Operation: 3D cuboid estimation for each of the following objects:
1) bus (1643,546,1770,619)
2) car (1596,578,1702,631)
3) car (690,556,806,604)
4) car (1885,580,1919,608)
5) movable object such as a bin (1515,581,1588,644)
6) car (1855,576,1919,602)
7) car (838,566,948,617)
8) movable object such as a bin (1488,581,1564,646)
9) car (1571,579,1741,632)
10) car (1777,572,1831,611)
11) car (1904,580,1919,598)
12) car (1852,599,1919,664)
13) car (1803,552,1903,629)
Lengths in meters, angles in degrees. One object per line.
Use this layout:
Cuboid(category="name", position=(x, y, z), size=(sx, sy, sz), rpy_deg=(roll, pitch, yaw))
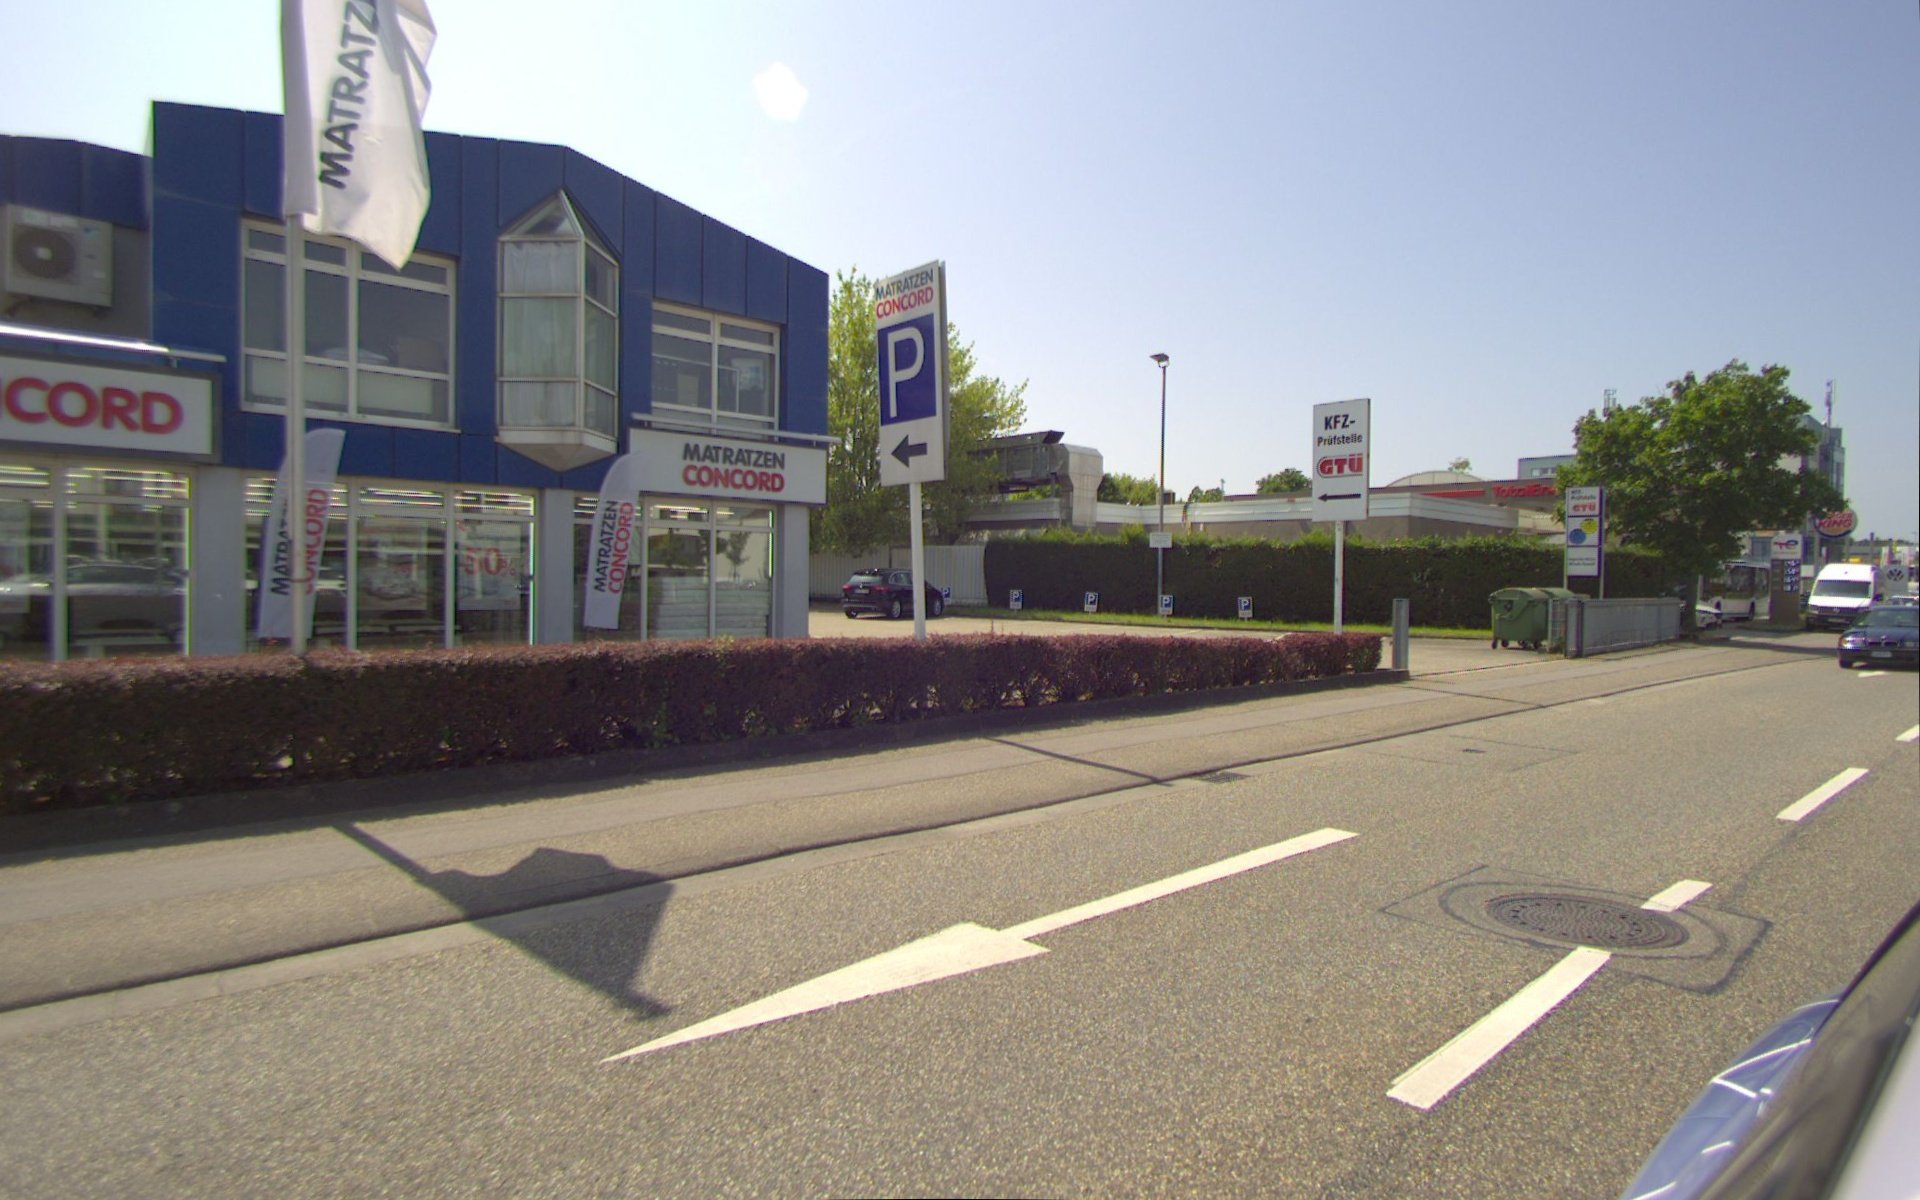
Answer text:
Cuboid(category="bus", position=(35.884, -0.825, 48.495), size=(8.915, 3.191, 2.756), rpy_deg=(0, 2, -39))
Cuboid(category="car", position=(22.240, 0.114, 32.609), size=(4.559, 1.484, 1.796), rpy_deg=(0, 4, -43))
Cuboid(category="car", position=(-7.891, -0.746, 38.049), size=(1.979, 1.643, 4.502), rpy_deg=(2, 2, 25))
Cuboid(category="car", position=(59.021, -0.372, 62.888), size=(3.931, 1.600, 1.859), rpy_deg=(0, 4, -42))
Cuboid(category="movable object such as a bin", position=(14.821, 0.298, 25.342), size=(1.463, 1.488, 1.133), rpy_deg=(0, 2, -41))
Cuboid(category="car", position=(97.882, -1.162, 105.587), size=(1.689, 2.636, 6.906), rpy_deg=(1, 2, -16))
Cuboid(category="car", position=(-2.038, -0.288, 31.978), size=(1.504, 1.490, 3.957), rpy_deg=(2, 2, 30))
Cuboid(category="movable object such as a bin", position=(13.599, 0.303, 24.329), size=(1.463, 1.488, 1.133), rpy_deg=(0, 2, -41))
Cuboid(category="car", position=(24.938, 0.141, 36.419), size=(1.872, 1.545, 4.635), rpy_deg=(0, 4, -39))
Cuboid(category="car", position=(55.747, -0.596, 66.817), size=(5.482, 2.465, 2.055), rpy_deg=(0, 2, -43))
Cuboid(category="car", position=(96.722, -1.072, 100.761), size=(3.988, 1.787, 1.698), rpy_deg=(3, 2, 44))
Cuboid(category="car", position=(21.102, 0.653, 22.395), size=(3.692, 1.356, 1.630), rpy_deg=(0, 0, -42))
Cuboid(category="car", position=(36.549, -0.405, 41.325), size=(7.154, 2.807, 2.181), rpy_deg=(0, 4, -43))
